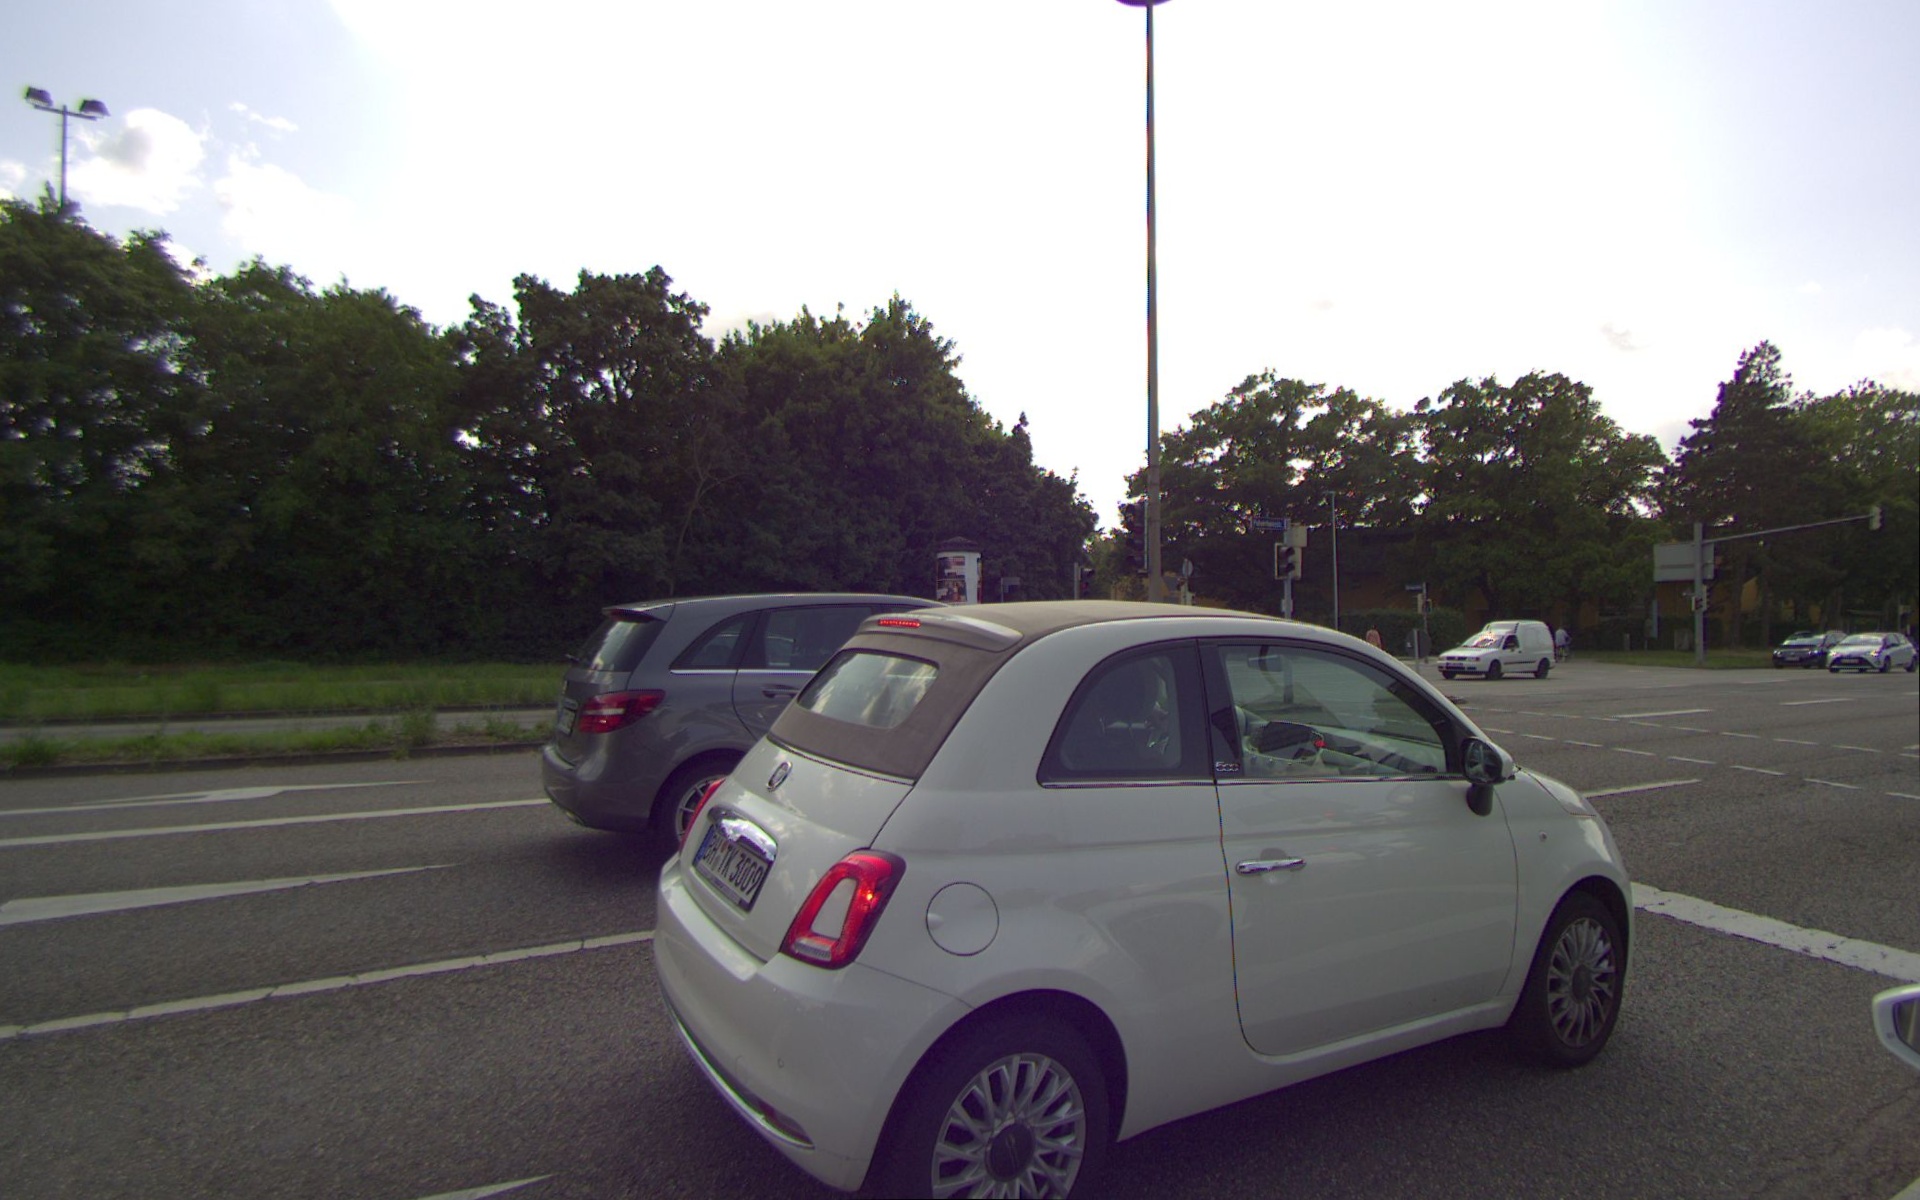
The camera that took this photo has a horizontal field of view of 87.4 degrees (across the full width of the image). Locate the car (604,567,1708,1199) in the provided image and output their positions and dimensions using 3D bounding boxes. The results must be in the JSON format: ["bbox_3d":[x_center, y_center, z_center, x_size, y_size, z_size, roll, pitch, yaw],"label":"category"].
[{"bbox_3d":[0.779,0.740,3.402,3.499,1.517,1.562,2,0,-30],"label":"car"}]

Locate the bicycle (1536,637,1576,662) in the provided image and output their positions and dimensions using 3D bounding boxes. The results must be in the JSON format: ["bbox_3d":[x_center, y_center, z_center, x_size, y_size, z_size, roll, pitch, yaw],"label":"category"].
[{"bbox_3d":[27.790,2.303,46.827,2.091,1.133,0.751,1,-2,-33],"label":"bicycle"}]

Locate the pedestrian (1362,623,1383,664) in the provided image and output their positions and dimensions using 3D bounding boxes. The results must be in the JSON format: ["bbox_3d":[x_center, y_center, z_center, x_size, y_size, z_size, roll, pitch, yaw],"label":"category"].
[{"bbox_3d":[17.620,1.852,42.927,0.678,1.765,0.705,0,-2,8],"label":"pedestrian"}]

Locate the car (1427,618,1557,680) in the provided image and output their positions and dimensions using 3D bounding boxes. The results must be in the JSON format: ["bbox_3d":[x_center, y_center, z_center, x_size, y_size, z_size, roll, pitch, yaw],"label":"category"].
[{"bbox_3d":[16.694,1.528,31.458,4.205,1.817,1.663,2,-2,-30],"label":"car"}]

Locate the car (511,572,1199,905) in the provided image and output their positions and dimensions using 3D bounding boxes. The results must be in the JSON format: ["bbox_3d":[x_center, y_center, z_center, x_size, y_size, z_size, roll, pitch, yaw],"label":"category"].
[{"bbox_3d":[-0.583,0.747,6.790,4.309,1.640,1.690,2,-1,-30],"label":"car"}]

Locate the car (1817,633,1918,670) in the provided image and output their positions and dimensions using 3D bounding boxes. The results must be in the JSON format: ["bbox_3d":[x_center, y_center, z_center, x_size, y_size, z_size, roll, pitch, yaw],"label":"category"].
[{"bbox_3d":[33.725,1.911,37.329,3.651,1.325,1.745,2,-4,-30],"label":"car"}]

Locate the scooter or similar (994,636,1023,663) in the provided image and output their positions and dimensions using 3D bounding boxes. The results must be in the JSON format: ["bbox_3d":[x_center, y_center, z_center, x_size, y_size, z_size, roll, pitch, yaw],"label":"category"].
[{"bbox_3d":[1.796,1.824,36.989,1.022,0.954,0.295,2,0,-24],"label":"scooter or similar"}]

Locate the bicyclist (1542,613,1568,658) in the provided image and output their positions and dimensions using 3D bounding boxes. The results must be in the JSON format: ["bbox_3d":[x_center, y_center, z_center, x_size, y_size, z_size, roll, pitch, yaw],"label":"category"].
[{"bbox_3d":[27.728,1.657,46.806,0.822,2.040,0.747,1,-2,-32],"label":"bicyclist"}]

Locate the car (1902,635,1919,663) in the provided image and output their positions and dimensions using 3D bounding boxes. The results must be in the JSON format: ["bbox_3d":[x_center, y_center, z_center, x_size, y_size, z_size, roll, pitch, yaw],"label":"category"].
[{"bbox_3d":[49.404,2.461,50.795,4.036,1.390,1.586,1,-2,-32],"label":"car"}]

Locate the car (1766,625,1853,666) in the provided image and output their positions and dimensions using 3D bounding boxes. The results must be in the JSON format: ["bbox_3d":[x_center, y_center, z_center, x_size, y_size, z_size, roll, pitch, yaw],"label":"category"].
[{"bbox_3d":[37.798,2.018,44.693,4.260,1.764,1.663,2,-2,-30],"label":"car"}]
